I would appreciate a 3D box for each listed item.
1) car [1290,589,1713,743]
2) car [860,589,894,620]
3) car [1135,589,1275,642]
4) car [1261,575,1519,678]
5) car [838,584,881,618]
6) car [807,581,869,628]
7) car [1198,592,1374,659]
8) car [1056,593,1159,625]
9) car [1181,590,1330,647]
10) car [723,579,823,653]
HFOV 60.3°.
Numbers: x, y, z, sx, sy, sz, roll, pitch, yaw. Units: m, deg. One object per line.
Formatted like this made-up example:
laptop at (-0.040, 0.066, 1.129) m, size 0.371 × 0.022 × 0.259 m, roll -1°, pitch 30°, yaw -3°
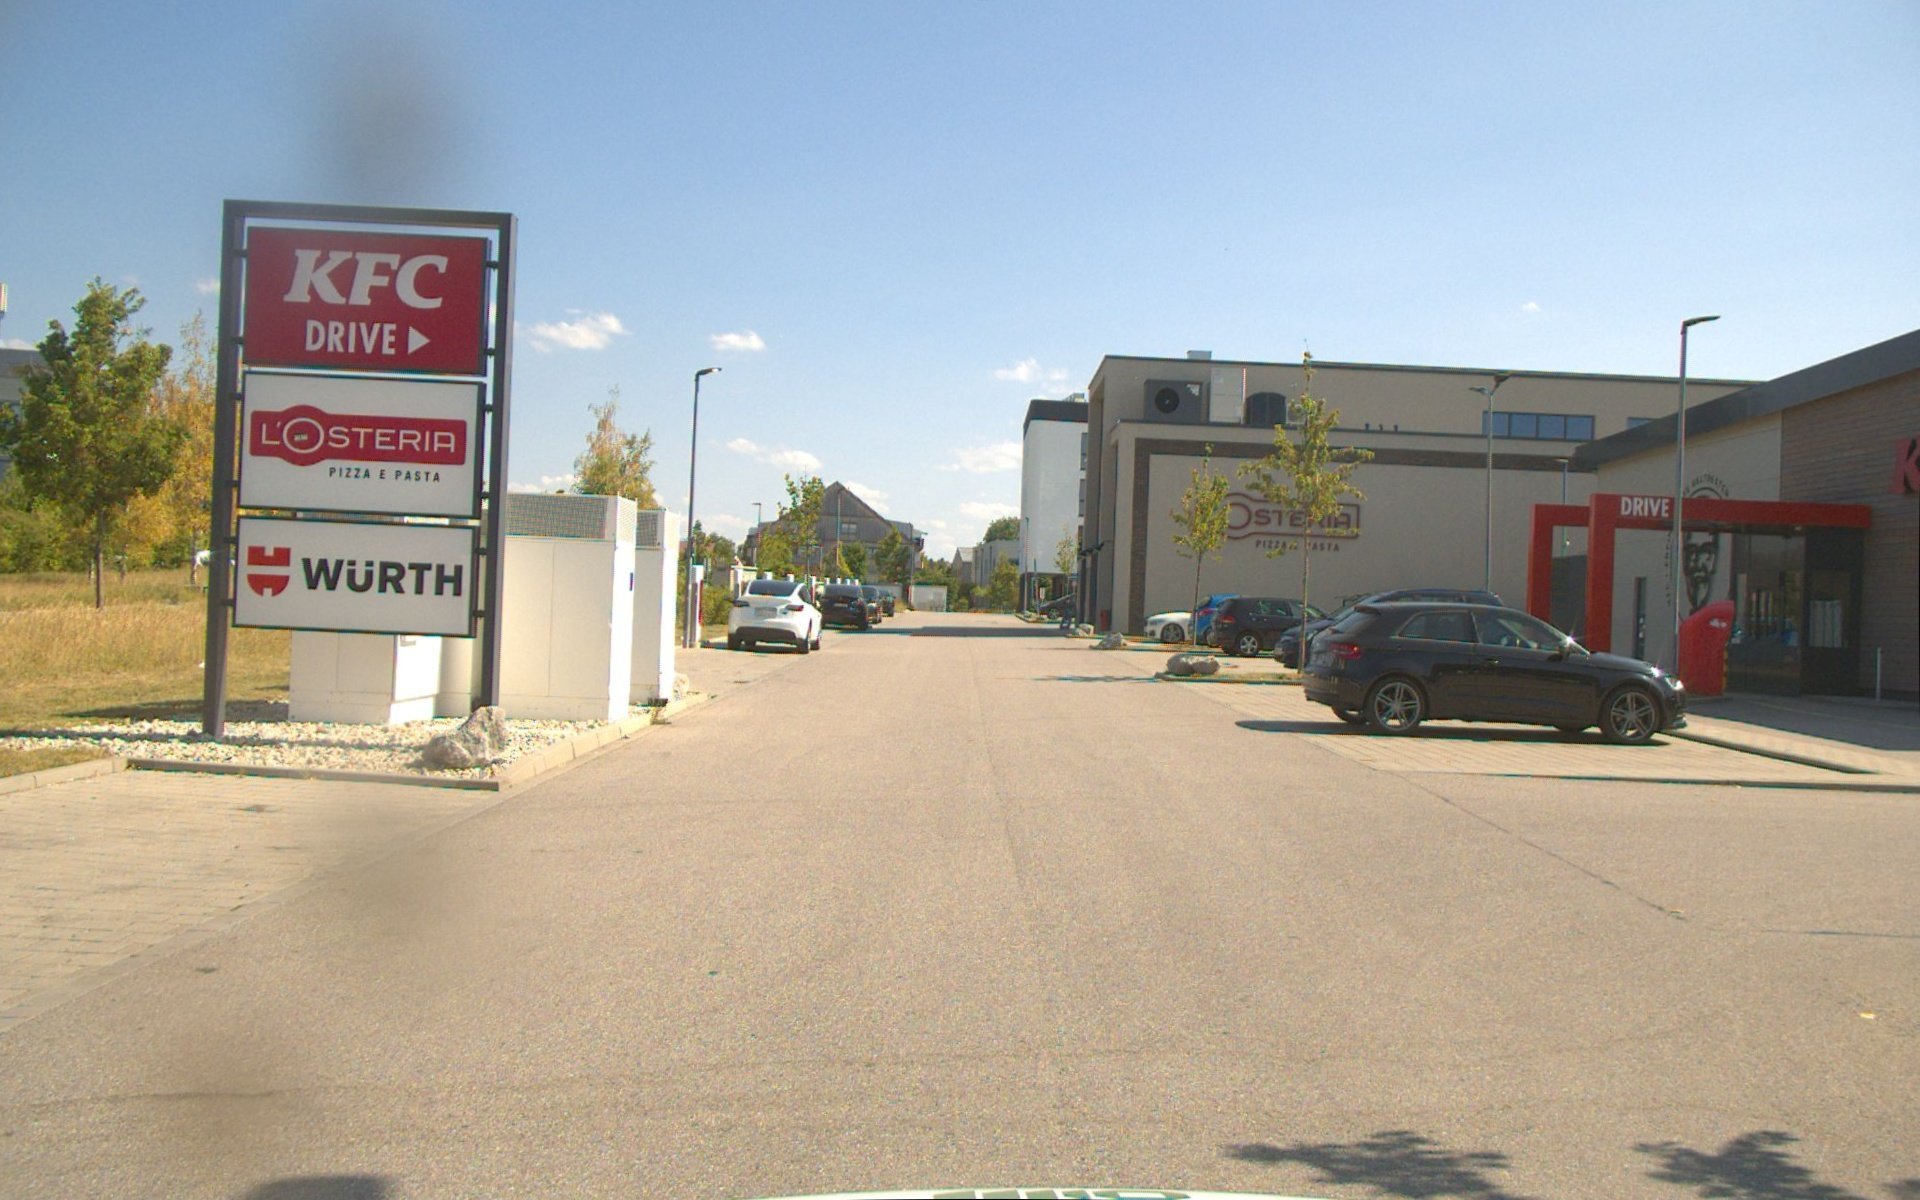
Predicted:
car at (5.922, 0.700, 18.403) m, size 4.115 × 1.466 × 1.698 m, roll 2°, pitch 0°, yaw -1°
car at (-4.461, 0.214, 89.740) m, size 1.707 × 1.595 × 3.999 m, roll 2°, pitch 0°, yaw -2°
car at (7.417, 0.453, 50.250) m, size 3.908 × 1.445 × 1.649 m, roll 2°, pitch 0°, yaw -4°
car at (7.934, 0.474, 30.704) m, size 4.285 × 1.715 × 1.640 m, roll 2°, pitch 0°, yaw -6°
car at (-4.383, 0.029, 72.525) m, size 1.707 × 1.411 × 3.999 m, roll 2°, pitch 0°, yaw -2°
car at (-4.454, 0.144, 60.906) m, size 1.905 × 1.595 × 4.000 m, roll 2°, pitch 0°, yaw 0°
car at (7.969, 0.608, 40.576) m, size 3.908 × 1.445 × 1.649 m, roll 2°, pitch 0°, yaw -4°
car at (5.944, 0.357, 66.842) m, size 3.906 × 1.176 × 1.999 m, roll 2°, pitch 1°, yaw -2°
car at (8.471, 0.525, 47.579) m, size 3.908 × 1.445 × 1.649 m, roll 2°, pitch 0°, yaw -4°
car at (-4.405, 0.348, 39.453) m, size 1.905 × 1.595 × 4.000 m, roll 2°, pitch 0°, yaw -1°
